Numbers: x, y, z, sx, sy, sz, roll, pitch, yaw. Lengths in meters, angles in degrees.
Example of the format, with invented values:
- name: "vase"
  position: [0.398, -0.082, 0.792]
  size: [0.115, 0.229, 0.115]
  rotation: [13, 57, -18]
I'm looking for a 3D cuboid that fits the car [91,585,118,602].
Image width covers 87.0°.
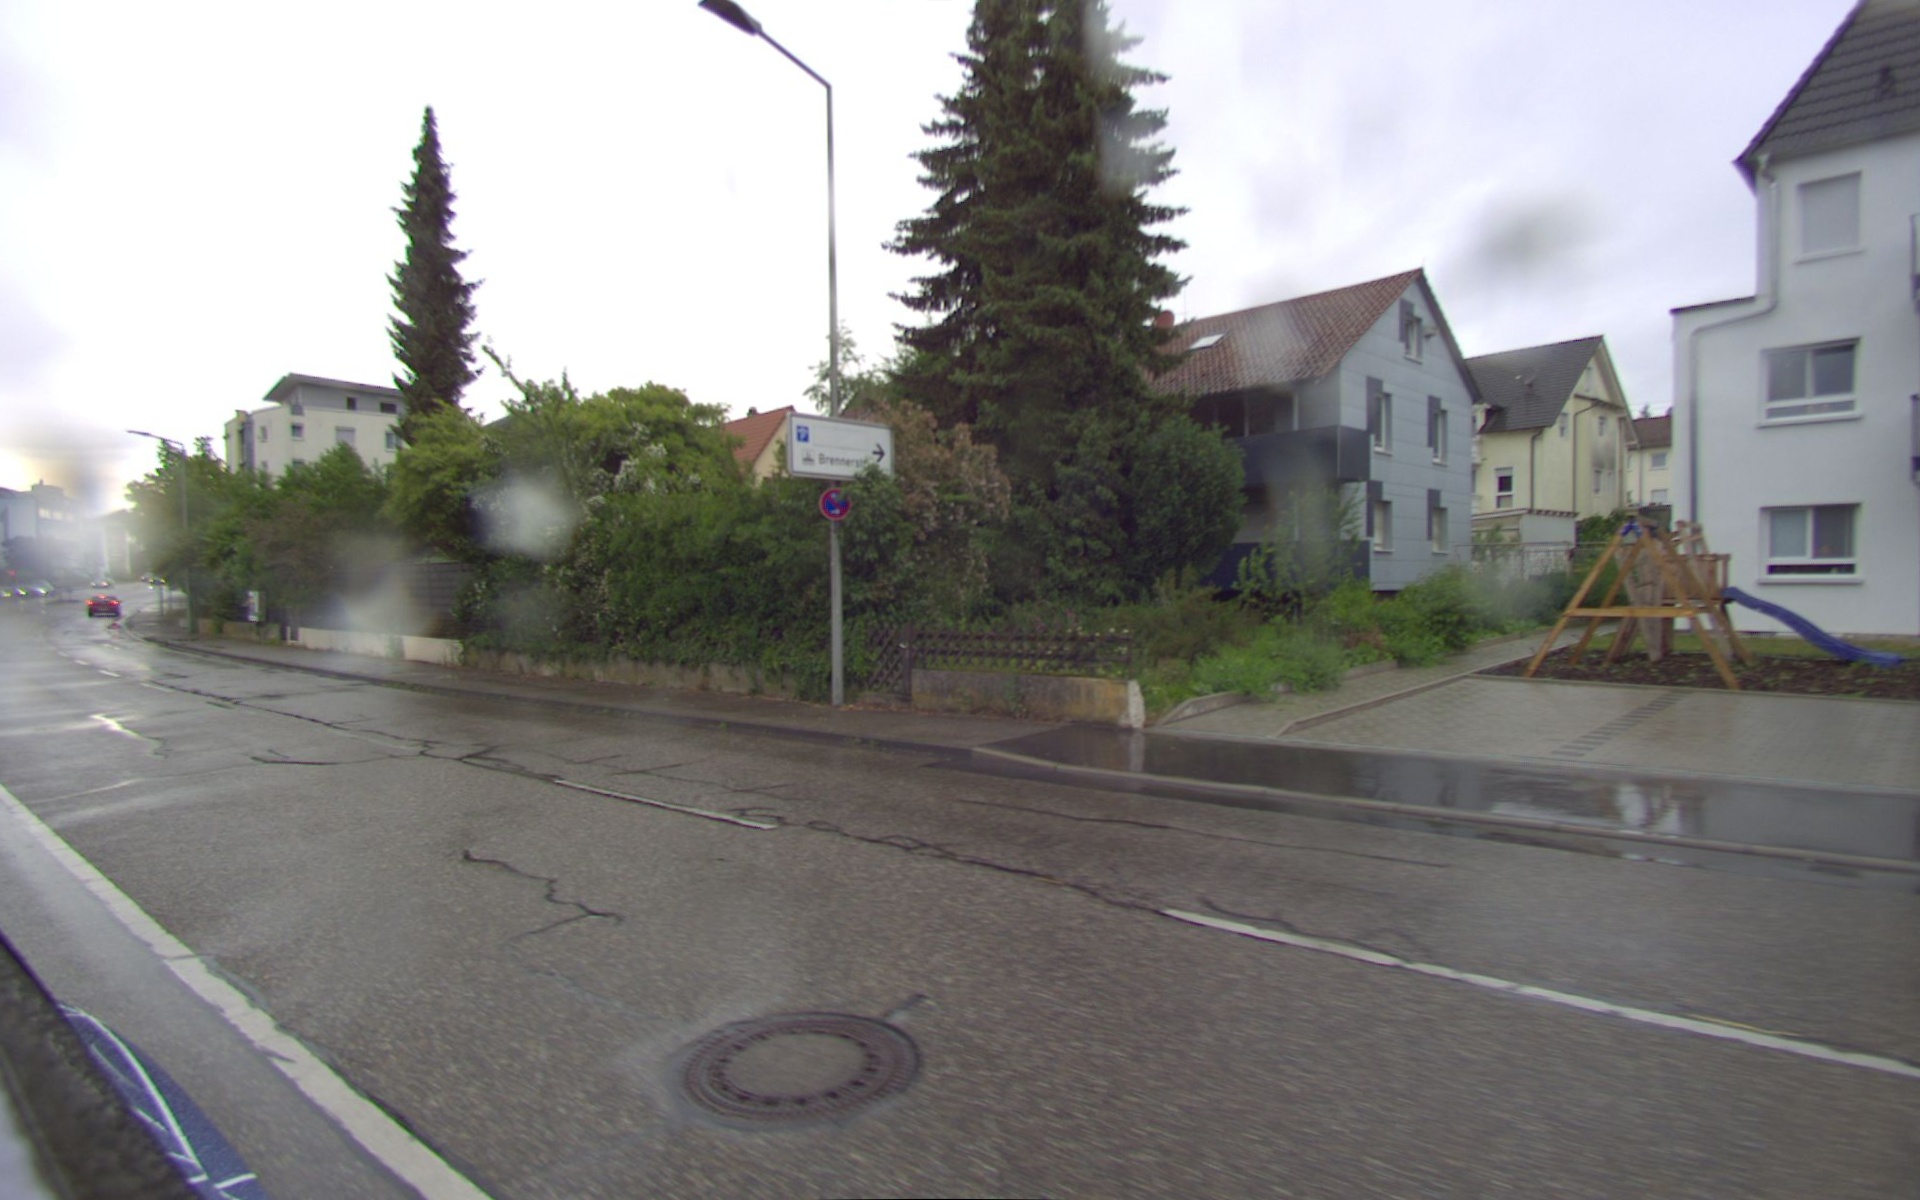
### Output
- name: "car"
  position: [-120.570, -0.955, 142.682]
  size: [1.966, 2.028, 4.013]
  rotation: [-6, 5, -29]

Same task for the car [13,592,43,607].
- name: "car"
  position: [-100.936, -0.097, 109.594]
  size: [1.725, 1.489, 4.011]
  rotation: [-3, 3, -34]

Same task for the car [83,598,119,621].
- name: "car"
  position: [-62.495, 0.695, 73.669]
  size: [1.752, 1.518, 4.113]
  rotation: [2, 0, -38]

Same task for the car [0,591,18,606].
- name: "car"
  position: [-97.372, -0.174, 102.678]
  size: [1.712, 1.497, 4.162]
  rotation: [-1, 1, -30]

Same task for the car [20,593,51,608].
- name: "car"
  position: [-105.410, 0.092, 115.421]
  size: [1.868, 1.556, 4.033]
  rotation: [-2, 2, -32]

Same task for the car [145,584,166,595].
- name: "car"
  position: [-125.054, -1.693, 157.323]
  size: [1.799, 1.699, 4.013]
  rotation: [-1, 1, -28]
